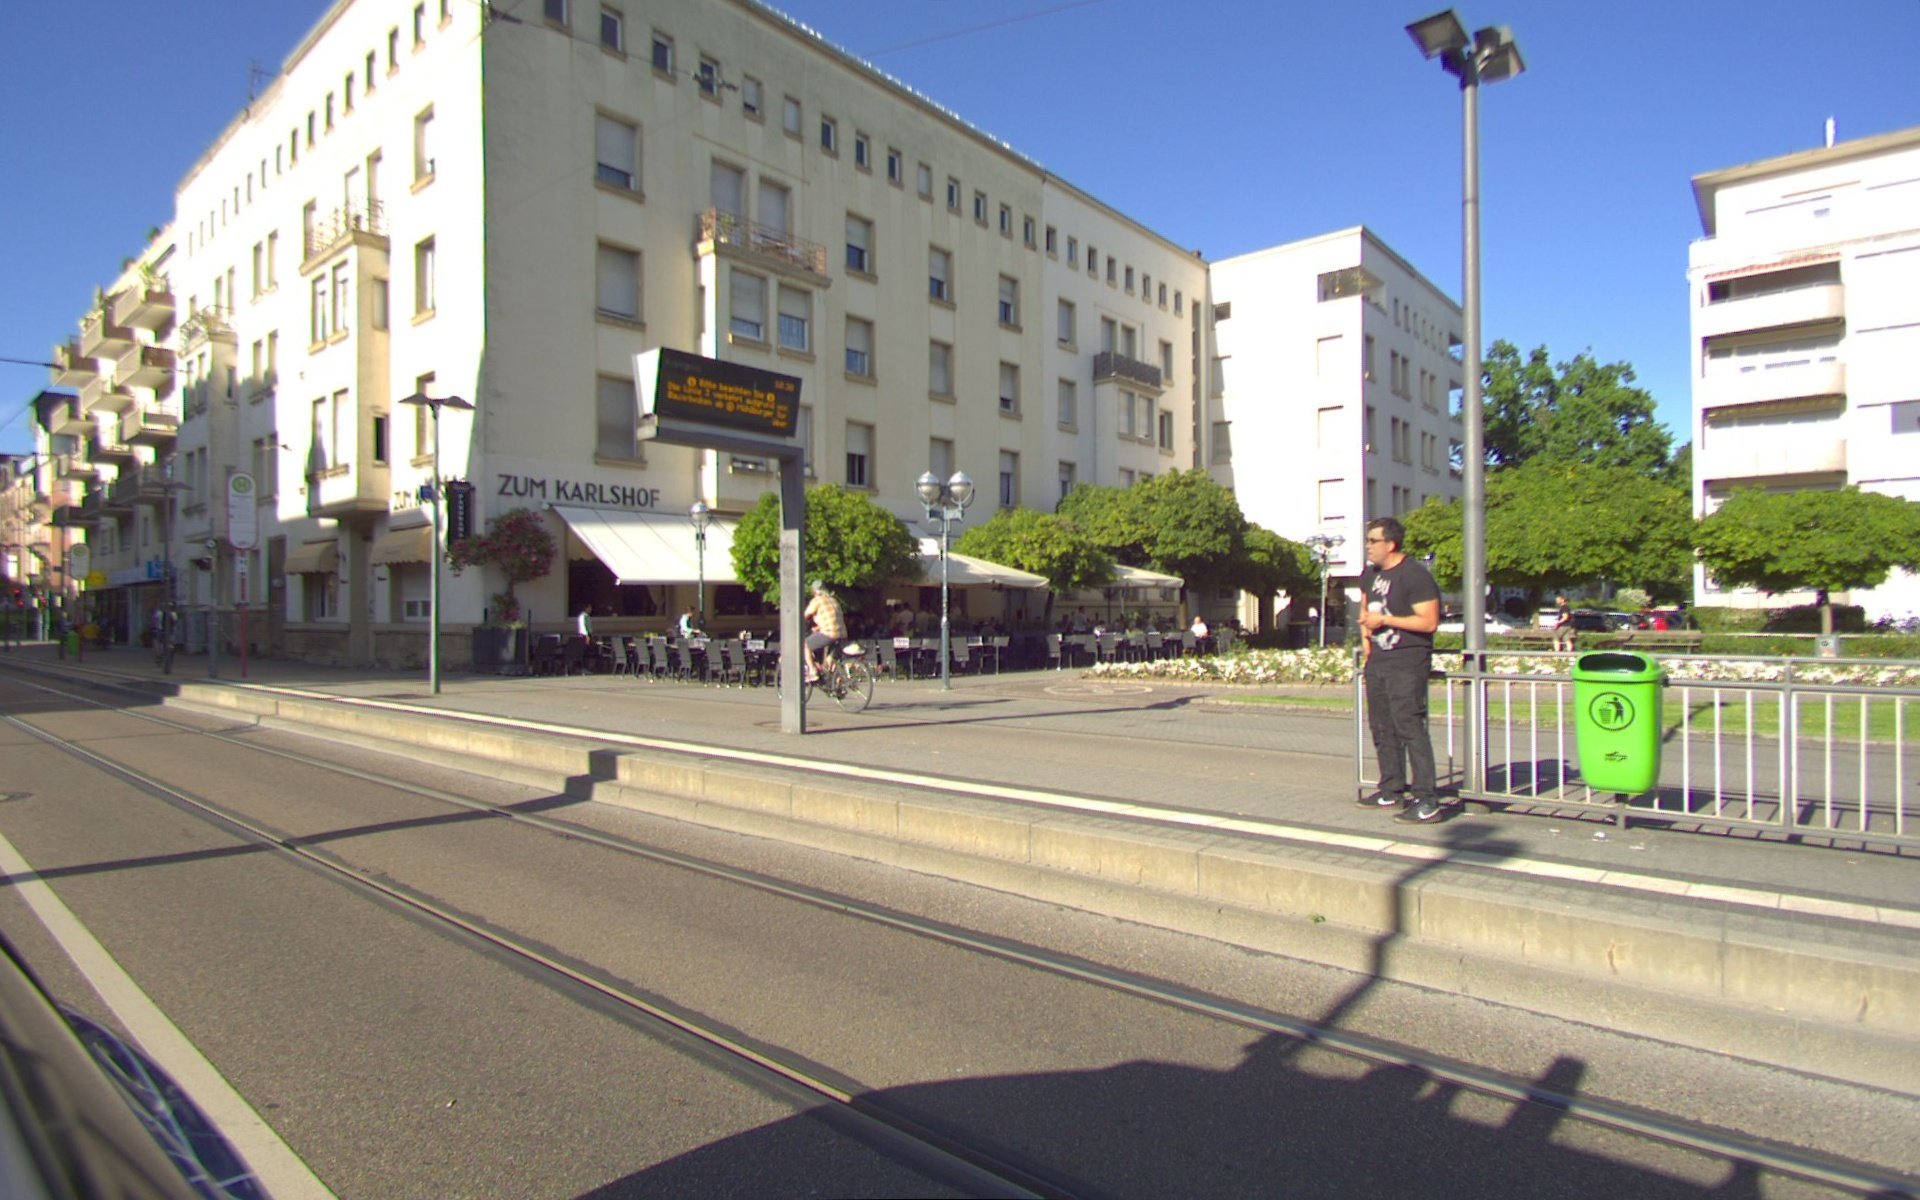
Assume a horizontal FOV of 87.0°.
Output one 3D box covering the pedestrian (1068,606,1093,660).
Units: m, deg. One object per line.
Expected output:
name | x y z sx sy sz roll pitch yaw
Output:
pedestrian | 4.019 1.094 33.631 0.677 1.750 0.671 -3 -4 14

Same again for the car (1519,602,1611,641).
car | 24.065 0.867 40.276 2.932 1.497 1.399 -1 -1 41

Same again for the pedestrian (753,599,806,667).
pedestrian | -4.466 0.802 25.045 0.755 1.657 1.054 -1 -1 36

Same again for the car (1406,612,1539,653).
car | 17.614 1.100 34.849 3.713 1.310 1.973 -1 -1 41

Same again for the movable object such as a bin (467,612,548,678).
movable object such as a bin | -10.002 0.968 22.380 1.127 1.410 1.302 -1 -1 40

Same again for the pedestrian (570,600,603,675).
pedestrian | -8.483 0.860 22.980 0.662 1.657 0.753 0 -4 -22

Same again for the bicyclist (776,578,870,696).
bicyclist | -1.773 0.458 13.136 0.876 1.466 0.819 -1 0 40

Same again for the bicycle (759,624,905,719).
bicycle | -1.675 0.877 13.062 1.975 1.121 0.721 -1 -1 40

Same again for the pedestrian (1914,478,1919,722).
pedestrian | 5.456 0.263 5.200 0.769 1.788 0.608 -2 -4 43

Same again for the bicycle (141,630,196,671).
bicycle | -22.974 1.442 29.366 2.031 1.134 0.705 -1 -1 36

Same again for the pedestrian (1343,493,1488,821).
pedestrian | 2.584 0.310 5.749 0.607 1.731 0.542 -1 -3 43

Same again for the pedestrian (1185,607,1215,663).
pedestrian | 7.637 1.130 32.218 0.710 1.750 0.673 -2 -4 1

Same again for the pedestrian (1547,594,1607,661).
pedestrian | 16.907 0.744 27.718 1.177 1.801 1.066 -2 -1 44

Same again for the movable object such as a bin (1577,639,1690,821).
movable object such as a bin | 3.430 0.637 5.154 0.416 0.866 0.332 -1 -1 44

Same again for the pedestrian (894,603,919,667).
pedestrian | -1.554 1.000 29.362 0.641 1.837 0.576 -1 -1 5

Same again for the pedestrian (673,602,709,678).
pedestrian | -6.037 0.896 22.715 0.663 1.657 0.677 -2 -4 -6

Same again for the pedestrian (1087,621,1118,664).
pedestrian | 4.313 1.289 30.638 0.672 1.280 0.636 -5 -5 36

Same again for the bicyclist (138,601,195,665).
bicyclist | -23.015 0.950 29.364 1.092 1.807 0.996 -1 -1 33
